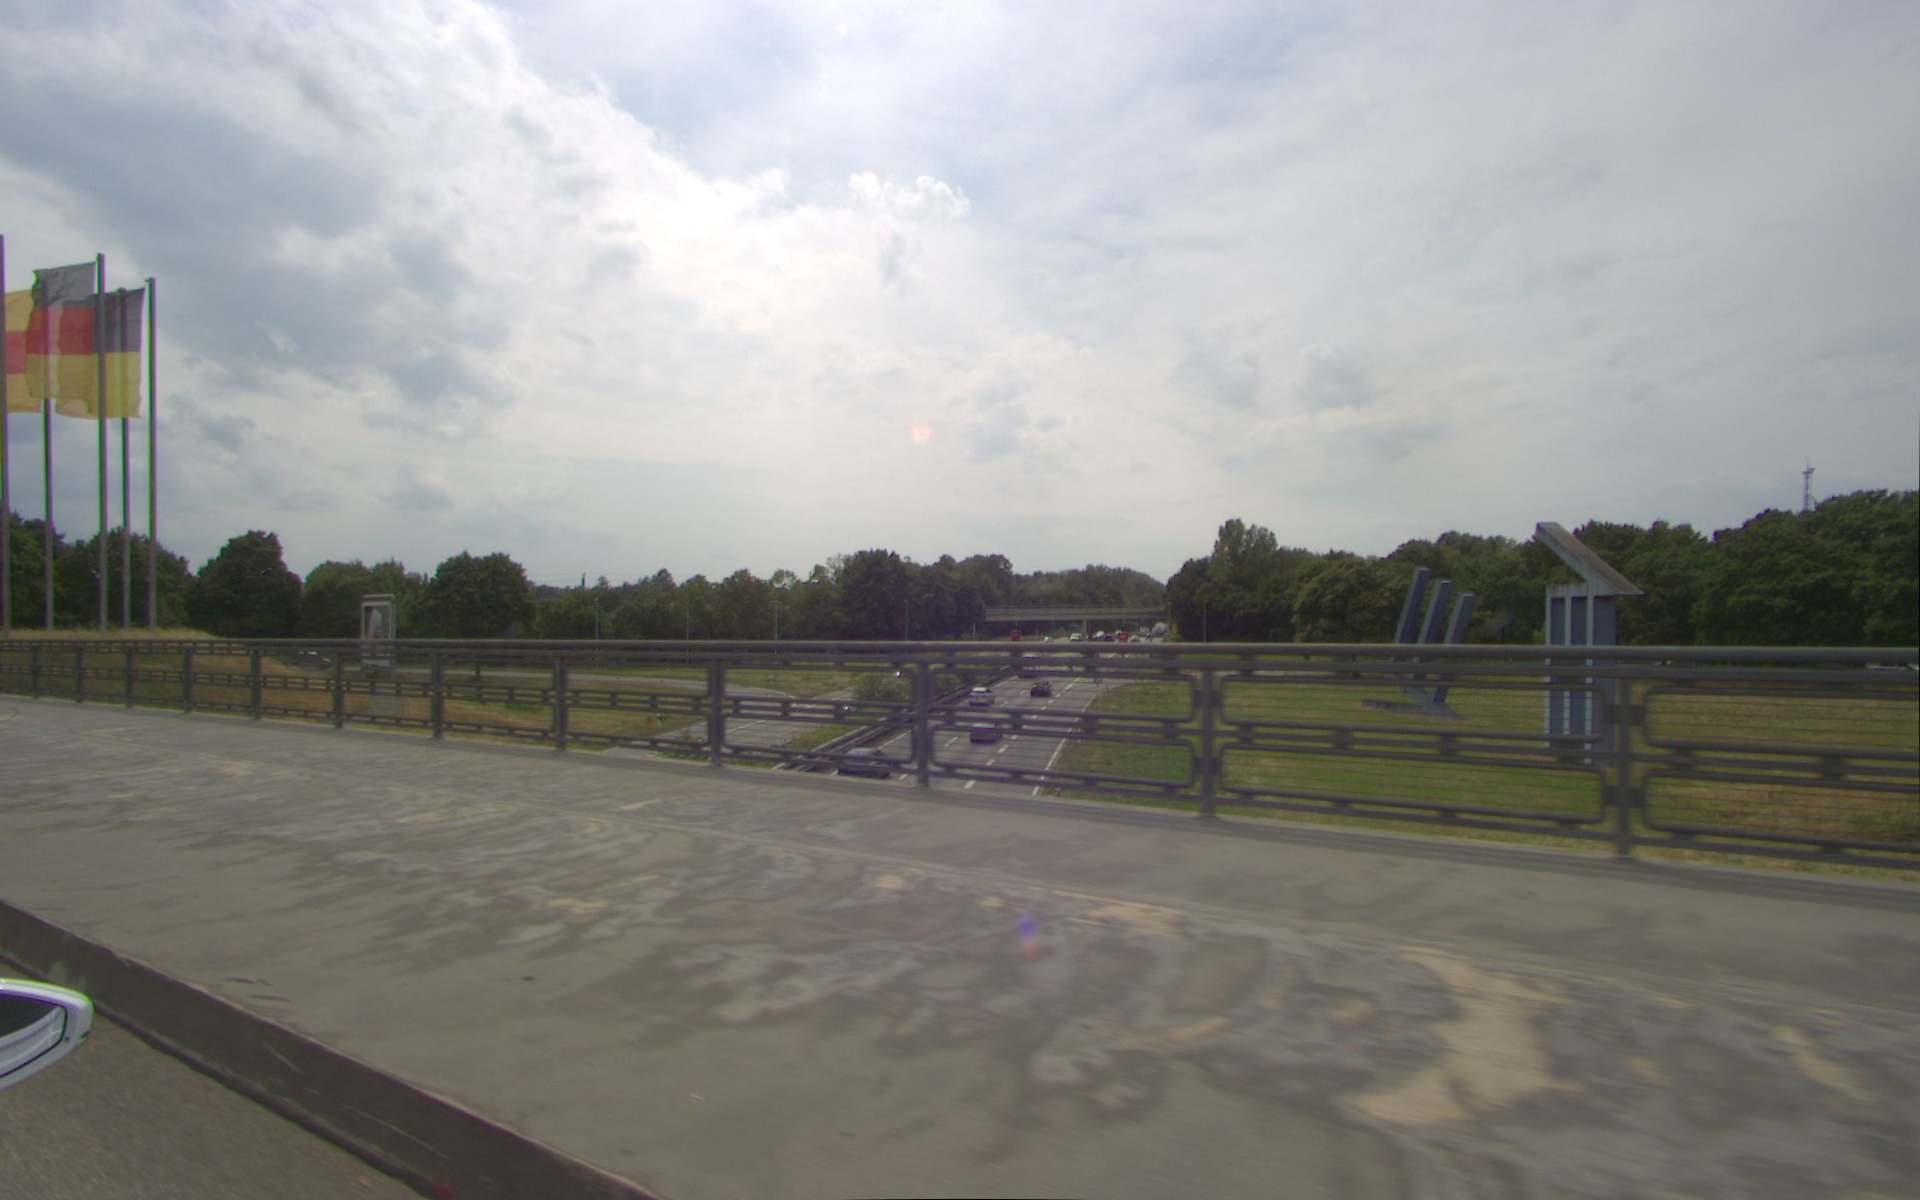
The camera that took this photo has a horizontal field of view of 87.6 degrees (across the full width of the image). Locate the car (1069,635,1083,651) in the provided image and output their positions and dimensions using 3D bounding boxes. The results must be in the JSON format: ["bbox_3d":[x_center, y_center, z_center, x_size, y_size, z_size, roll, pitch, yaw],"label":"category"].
[{"bbox_3d":[19.735,7.286,169.936,2.043,2.523,4.360,1,-1,11],"label":"car"}]

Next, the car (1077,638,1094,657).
[{"bbox_3d":[18.158,6.805,144.670,2.043,2.523,4.360,1,-1,11],"label":"car"}]

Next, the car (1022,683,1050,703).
[{"bbox_3d":[7.254,8.811,95.188,1.964,1.606,3.995,0,-1,16],"label":"car"}]

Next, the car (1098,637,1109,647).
[{"bbox_3d":[30.114,8.704,209.448,2.043,1.907,4.360,1,-1,11],"label":"car"}]

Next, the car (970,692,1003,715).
[{"bbox_3d":[2.278,8.781,85.331,1.963,1.606,3.996,0,-1,14],"label":"car"}]

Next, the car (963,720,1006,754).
[{"bbox_3d":[1.613,8.760,64.230,1.963,1.606,3.997,0,-1,13],"label":"car"}]

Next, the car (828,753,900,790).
[{"bbox_3d":[-4.541,8.149,47.870,1.964,1.253,3.996,0,-3,19],"label":"car"}]

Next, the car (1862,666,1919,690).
[{"bbox_3d":[82.205,6.803,87.400,1.963,1.826,4.897,1,-1,-13],"label":"car"}]

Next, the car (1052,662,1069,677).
[{"bbox_3d":[12.446,8.557,123.826,1.962,1.606,3.999,0,-1,9],"label":"car"}]

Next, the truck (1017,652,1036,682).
[{"bbox_3d":[7.744,7.778,116.406,1.961,3.191,4.380,0,0,8],"label":"truck"}]

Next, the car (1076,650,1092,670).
[{"bbox_3d":[16.921,8.137,136.717,1.962,2.566,3.999,0,0,9],"label":"car"}]
